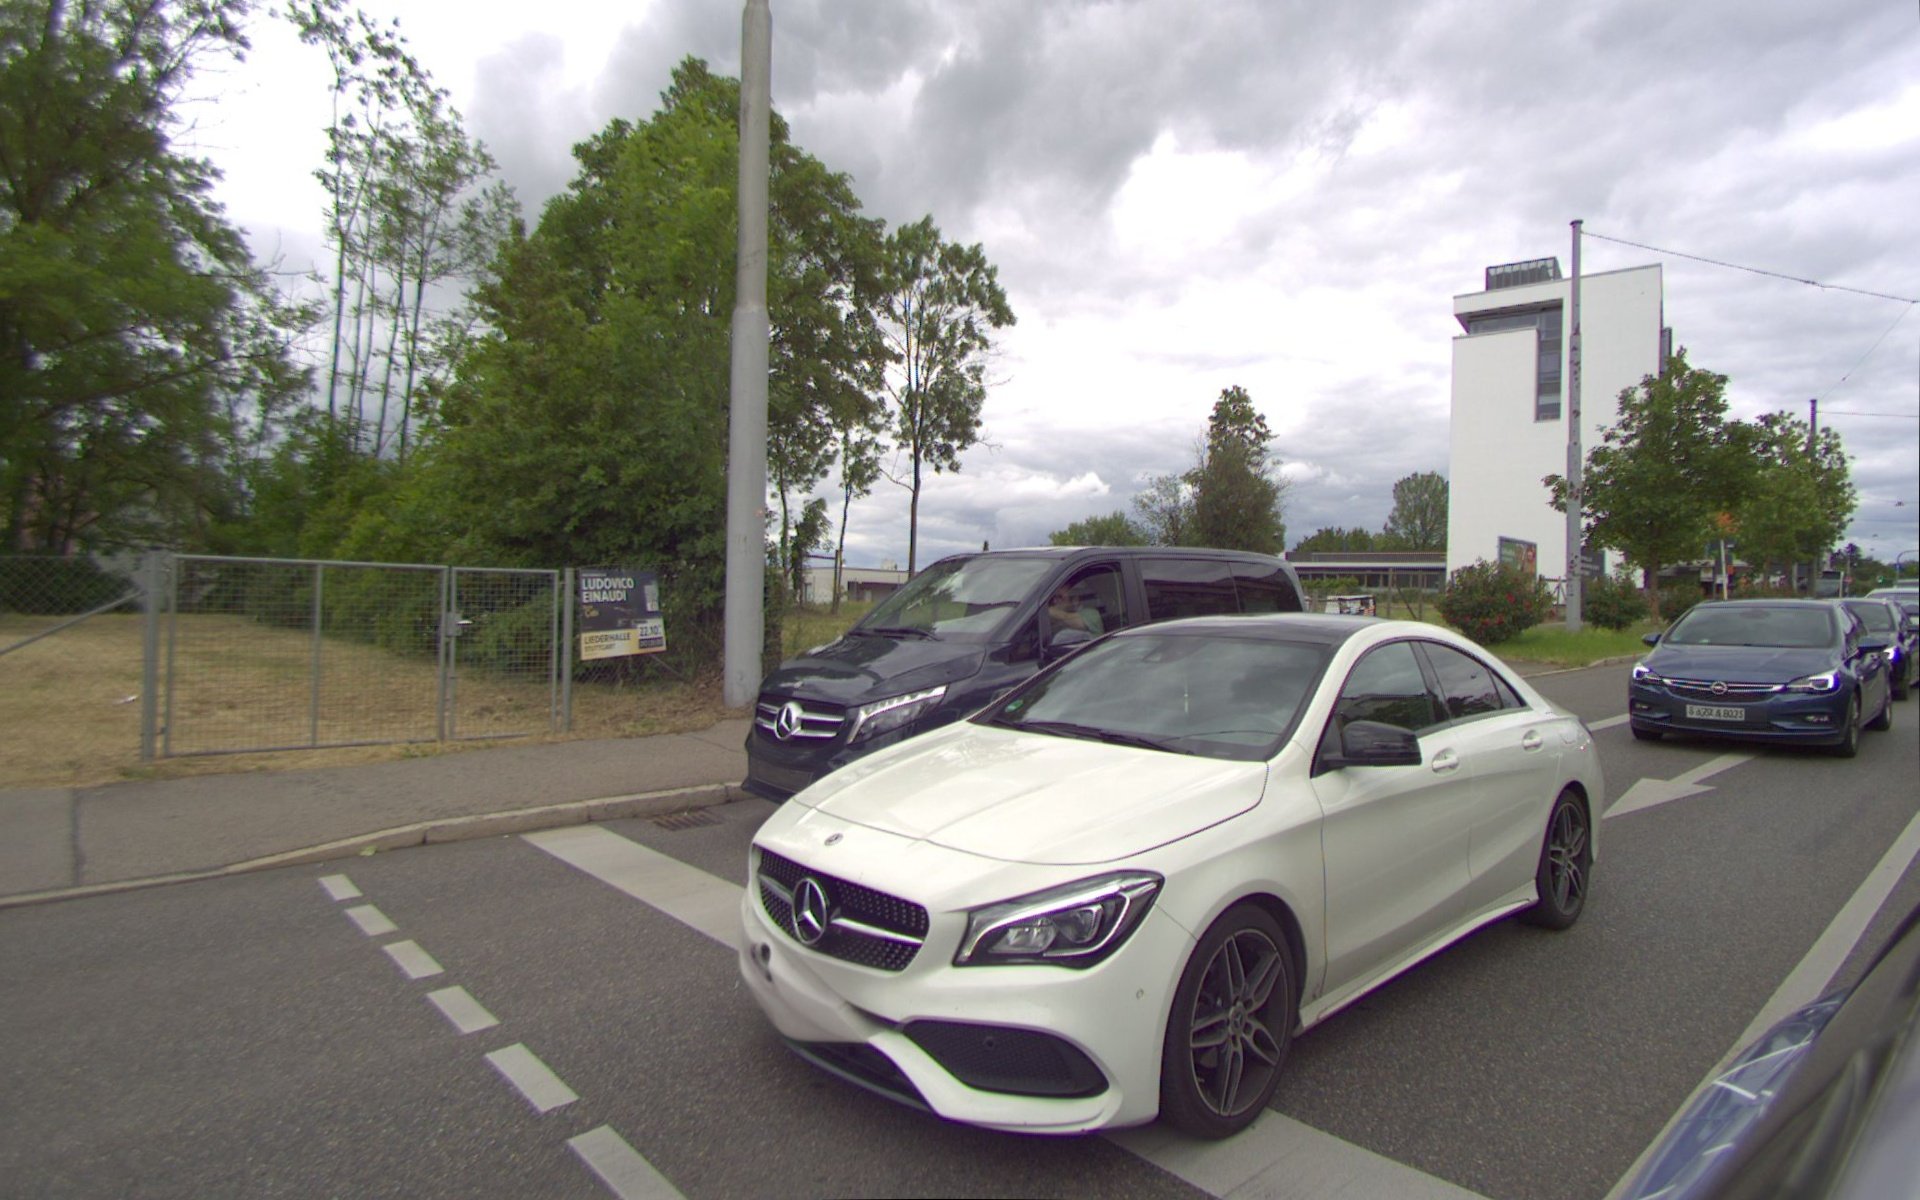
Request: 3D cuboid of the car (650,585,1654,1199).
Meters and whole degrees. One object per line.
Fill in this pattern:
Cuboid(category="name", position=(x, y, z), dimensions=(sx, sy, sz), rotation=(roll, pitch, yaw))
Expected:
Cuboid(category="car", position=(1.236, 0.696, 4.369), dimensions=(4.617, 1.491, 1.797), rotation=(-1, 2, -41))

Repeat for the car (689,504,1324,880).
Cuboid(category="car", position=(0.634, 0.417, 7.551), dimensions=(4.794, 1.911, 2.012), rotation=(-1, 2, -44))

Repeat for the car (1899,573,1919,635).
Cuboid(category="car", position=(29.313, 0.117, 29.941), dimensions=(3.934, 1.792, 2.017), rotation=(0, 1, -44))

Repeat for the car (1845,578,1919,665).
Cuboid(category="car", position=(19.356, 0.374, 20.347), dimensions=(4.235, 1.619, 1.797), rotation=(-1, 2, -41))

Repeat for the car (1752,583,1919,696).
Cuboid(category="car", position=(13.868, 0.499, 15.632), dimensions=(4.235, 1.491, 1.797), rotation=(-1, 2, -41))

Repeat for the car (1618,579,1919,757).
Cuboid(category="car", position=(8.626, 0.535, 10.606), dimensions=(4.235, 1.491, 1.797), rotation=(-1, 2, -41))
